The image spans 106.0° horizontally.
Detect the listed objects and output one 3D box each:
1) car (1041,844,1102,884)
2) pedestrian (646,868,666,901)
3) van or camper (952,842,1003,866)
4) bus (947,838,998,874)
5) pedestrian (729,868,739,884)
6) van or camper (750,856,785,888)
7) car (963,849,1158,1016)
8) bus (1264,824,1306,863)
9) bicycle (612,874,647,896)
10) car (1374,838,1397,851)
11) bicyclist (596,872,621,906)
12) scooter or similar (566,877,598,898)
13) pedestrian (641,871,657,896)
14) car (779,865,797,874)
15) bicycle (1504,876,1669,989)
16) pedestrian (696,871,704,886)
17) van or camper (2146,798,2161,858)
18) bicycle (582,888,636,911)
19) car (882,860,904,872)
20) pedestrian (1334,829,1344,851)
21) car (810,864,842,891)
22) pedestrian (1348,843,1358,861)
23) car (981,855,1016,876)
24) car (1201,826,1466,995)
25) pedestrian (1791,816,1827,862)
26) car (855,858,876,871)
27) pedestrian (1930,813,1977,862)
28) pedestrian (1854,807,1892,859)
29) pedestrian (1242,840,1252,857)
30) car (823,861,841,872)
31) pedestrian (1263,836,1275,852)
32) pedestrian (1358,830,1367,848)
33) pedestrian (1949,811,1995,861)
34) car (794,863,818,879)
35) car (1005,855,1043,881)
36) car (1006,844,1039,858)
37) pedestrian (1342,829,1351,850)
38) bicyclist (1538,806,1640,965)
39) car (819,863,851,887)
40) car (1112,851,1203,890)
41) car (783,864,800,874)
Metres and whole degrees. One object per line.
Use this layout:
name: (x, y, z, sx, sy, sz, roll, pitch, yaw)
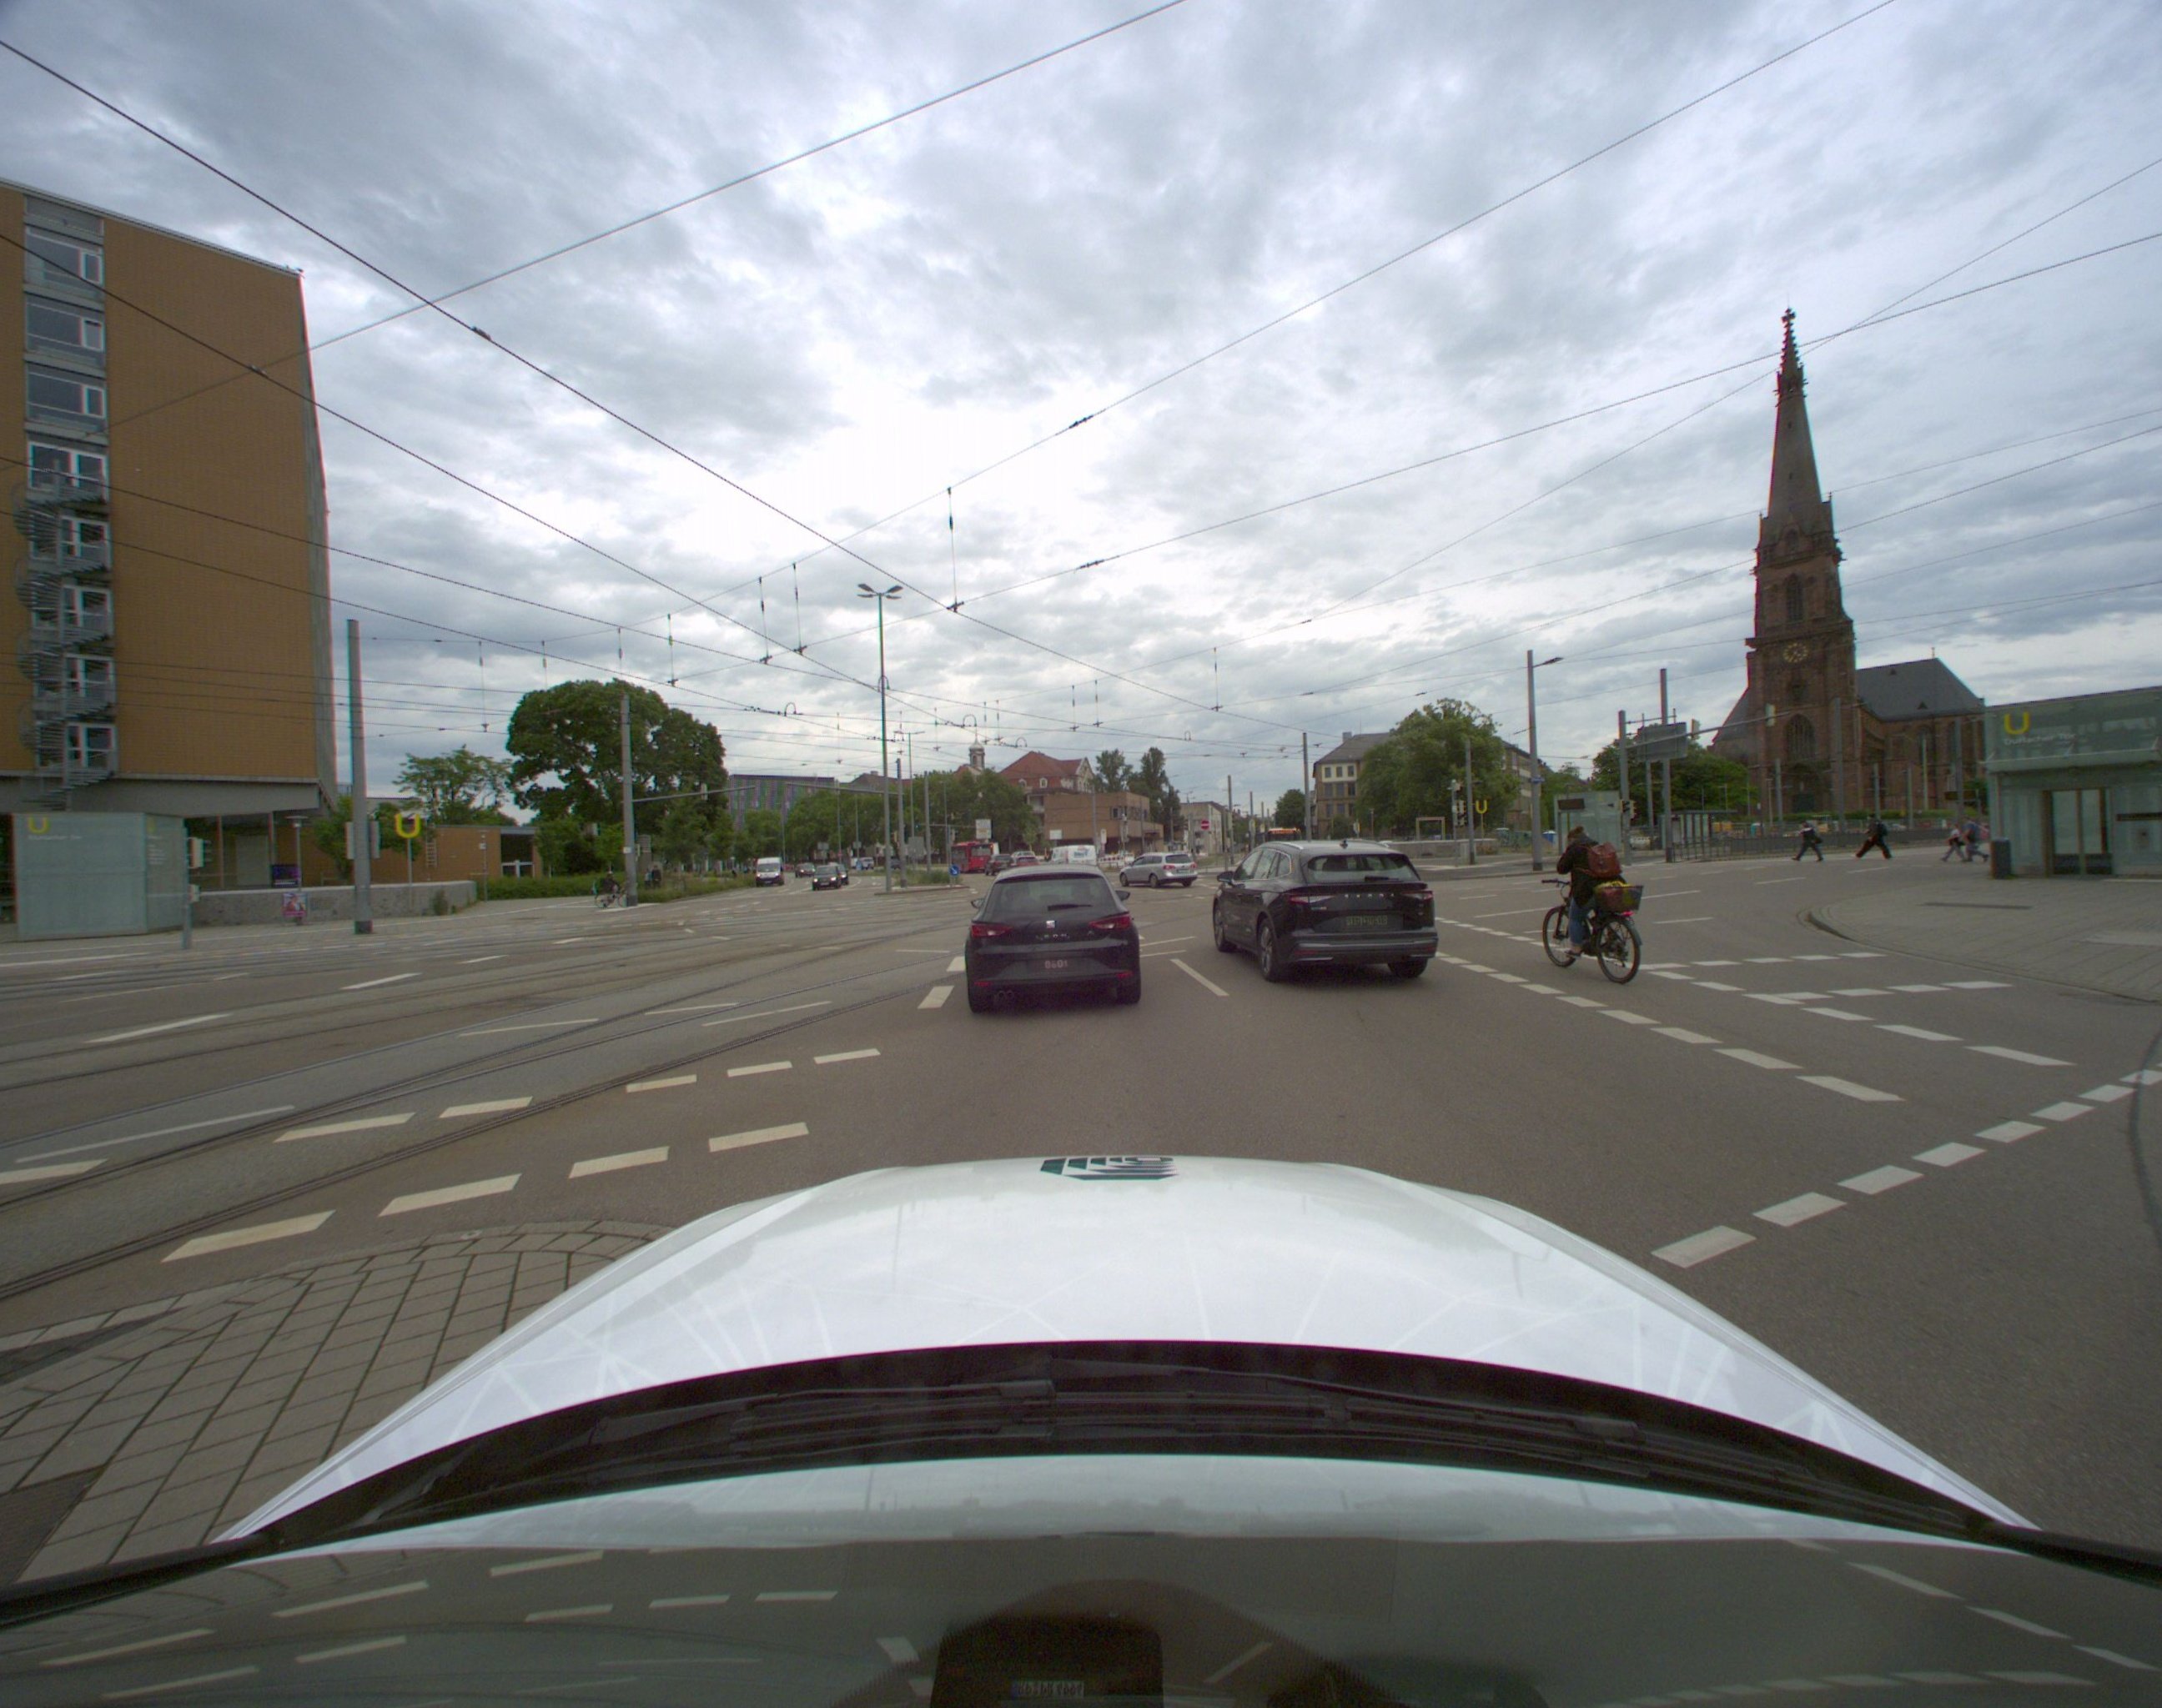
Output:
car: (-0.605, 0.522, 45.208, 1.998, 2.019, 5.003, -3, 0, -17)
pedestrian: (-26.348, 1.885, 50.491, 0.819, 1.980, 0.656, -3, 0, -10)
van or camper: (-15.816, -0.032, 124.683, 7.190, 3.332, 2.842, -3, -1, -40)
bus: (-11.169, 0.233, 82.736, 3.066, 3.297, 12.307, -2, 0, -17)
pedestrian: (-39.650, 2.512, 93.023, 0.896, 1.842, 0.663, -3, 0, -20)
van or camper: (-27.140, 1.488, 70.689, 2.285, 2.527, 5.541, -4, 0, -17)
car: (-0.262, 0.703, 9.430, 1.741, 1.464, 3.996, -2, 0, -2)
bus: (19.664, -1.024, 77.811, 2.992, 3.268, 13.102, -3, 0, 17)
bicycle: (-32.056, 2.170, 57.845, 0.841, 1.449, 2.261, -3, 0, 10)
car: (41.517, -1.243, 111.172, 1.900, 1.662, 4.006, -2, 0, 5)
bicyclist: (-23.474, 1.745, 40.467, 0.811, 1.656, 0.792, -1, -1, -6)
scooter or similar: (-33.826, 2.245, 55.219, 1.780, 1.302, 0.624, -3, 0, -27)
pedestrian: (-30.965, 2.139, 58.389, 0.747, 1.733, 0.683, -3, 0, -10)
car: (-55.298, 2.959, 153.709, 2.010, 1.681, 3.965, -2, 0, -37)
bicycle: (5.728, 0.836, 9.400, 0.622, 1.055, 2.127, -3, 0, 3)
pedestrian: (-39.623, 2.542, 84.658, 0.563, 1.541, 0.750, -2, 0, -19)
van or camper: (38.086, -0.957, 25.472, 5.400, 1.978, 2.184, -2, 0, 23)
bicycle: (-23.429, 2.239, 40.449, 2.110, 1.028, 0.793, -2, -1, -6)
car: (-26.462, 1.662, 114.596, 2.005, 1.539, 3.963, -2, 0, -28)
pedestrian: (52.020, -2.850, 164.299, 1.382, 4.253, 1.347, -2, 0, 1)
car: (-16.183, 1.478, 51.784, 1.621, 1.515, 3.647, -4, 0, -14)
pedestrian: (28.468, -0.235, 85.220, 0.816, 1.808, 1.026, -4, -2, 20)
car: (-6.672, 0.898, 65.555, 1.999, 1.566, 4.179, -3, 0, -18)
car: (2.962, 0.572, 10.703, 1.898, 1.658, 4.511, -3, 0, -2)
pedestrian: (26.920, -0.548, 30.111, 0.892, 1.643, 0.789, -3, 0, 39)
car: (-33.508, 1.630, 126.557, 2.008, 2.013, 3.957, -2, 0, -34)
pedestrian: (29.879, -0.571, 27.913, 0.939, 1.611, 0.773, -3, 0, 39)
pedestrian: (29.964, -0.795, 30.831, 0.892, 1.912, 0.789, -3, 0, 39)
pedestrian: (17.883, -0.562, 87.722, 0.816, 1.808, 1.026, -3, 0, 20)
car: (-43.330, 2.179, 141.709, 2.007, 1.750, 3.959, -2, 0, -32)
pedestrian: (19.644, -1.013, 85.220, 0.996, 1.645, 1.026, -3, 0, 20)
pedestrian: (29.025, -1.521, 83.962, 0.816, 1.853, 1.026, -3, 0, 20)
pedestrian: (29.625, -0.610, 27.094, 0.885, 1.602, 0.789, -3, 0, 39)
car: (-33.226, 2.101, 98.366, 1.881, 1.725, 4.669, -4, 0, -28)
car: (-3.909, 0.946, 55.390, 1.860, 1.600, 4.185, -3, 0, -14)
car: (-9.335, -0.449, 129.933, 5.031, 1.864, 1.976, -3, -3, -40)
pedestrian: (53.462, -2.892, 163.973, 1.300, 4.253, 1.349, -2, 0, 5)
bicyclist: (5.696, 0.334, 9.167, 0.613, 1.690, 0.806, -2, 0, 2)
car: (-17.917, 1.510, 59.522, 1.873, 1.508, 4.457, -5, 1, -14)
car: (3.242, 0.695, 35.508, 1.730, 1.482, 4.588, -4, 1, -26)
car: (-57.453, 3.013, 161.546, 2.011, 1.750, 3.952, -2, 0, -40)
